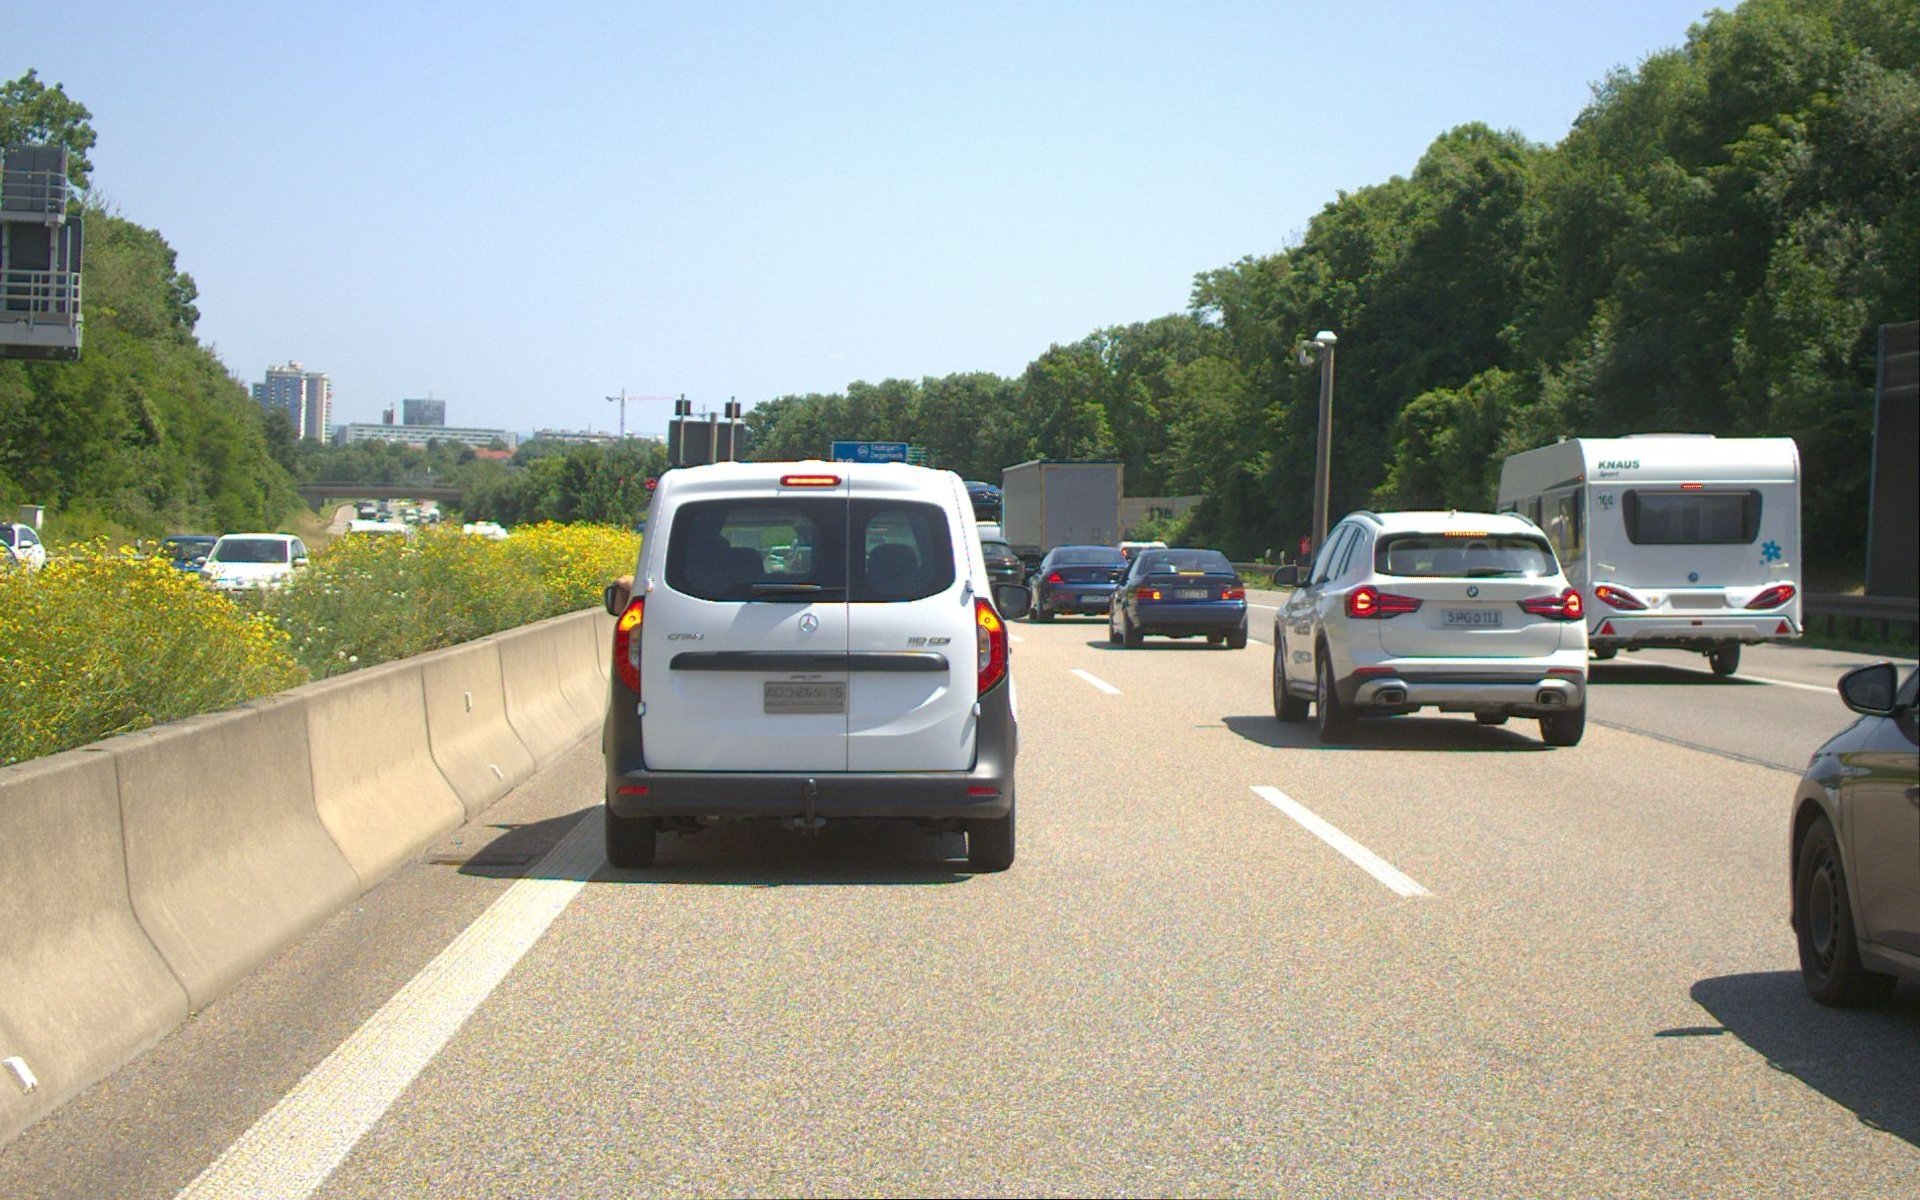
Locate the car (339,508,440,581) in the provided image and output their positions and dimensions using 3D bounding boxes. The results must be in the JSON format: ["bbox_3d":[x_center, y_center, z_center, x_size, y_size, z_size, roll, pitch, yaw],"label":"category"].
[{"bbox_3d":[-14.147,-1.389,85.465,1.884,1.749,4.277,0,1,-1],"label":"car"}]

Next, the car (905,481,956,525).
[{"bbox_3d":[-1.381,-4.462,159.295,1.993,2.007,4.001,0,1,-6],"label":"car"}]

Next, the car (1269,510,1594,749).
[{"bbox_3d":[3.421,0.152,25.621,1.871,1.602,3.879,1,2,0],"label":"car"}]

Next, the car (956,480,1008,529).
[{"bbox_3d":[0.895,-3.933,142.106,1.993,2.007,4.001,0,1,-2],"label":"car"}]

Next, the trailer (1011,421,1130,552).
[{"bbox_3d":[3.444,-3.559,110.108,3.081,3.972,10.324,0,1,-2],"label":"trailer"}]

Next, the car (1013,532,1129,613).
[{"bbox_3d":[1.979,-0.523,62.446,1.824,1.419,4.001,0,1,-2],"label":"car"}]

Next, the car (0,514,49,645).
[{"bbox_3d":[-11.885,-0.242,39.105,1.993,1.493,4.248,1,1,-1],"label":"car"}]

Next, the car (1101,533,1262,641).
[{"bbox_3d":[3.024,-0.211,47.649,1.824,1.419,4.001,0,1,-2],"label":"car"}]

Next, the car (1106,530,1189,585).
[{"bbox_3d":[4.965,-1.152,91.374,1.824,1.419,4.001,0,1,-2],"label":"car"}]

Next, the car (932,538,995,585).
[{"bbox_3d":[0.089,-1.215,108.206,1.824,1.442,4.001,0,1,-2],"label":"car"}]

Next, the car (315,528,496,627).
[{"bbox_3d":[-7.945,-0.357,49.624,1.993,1.336,4.248,1,1,-1],"label":"car"}]

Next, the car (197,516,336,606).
[{"bbox_3d":[-11.994,-0.691,59.644,1.675,1.493,3.883,1,1,-1],"label":"car"}]

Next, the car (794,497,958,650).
[{"bbox_3d":[-1.103,-0.364,44.087,1.993,1.853,4.001,0,1,-2],"label":"car"}]

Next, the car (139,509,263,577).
[{"bbox_3d":[-17.141,-1.294,77.804,1.993,1.486,4.000,0,1,-1],"label":"car"}]

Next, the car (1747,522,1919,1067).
[{"bbox_3d":[3.616,0.572,9.379,1.838,1.508,4.402,1,2,-1],"label":"car"}]

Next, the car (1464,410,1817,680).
[{"bbox_3d":[7.455,-0.627,38.470,2.478,2.756,6.221,0,1,-2],"label":"car"}]

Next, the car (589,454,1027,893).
[{"bbox_3d":[-0.596,0.261,16.294,1.802,1.802,4.000,1,1,1],"label":"car"}]

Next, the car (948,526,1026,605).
[{"bbox_3d":[0.680,-0.911,88.579,1.824,1.982,4.001,0,1,-2],"label":"car"}]
